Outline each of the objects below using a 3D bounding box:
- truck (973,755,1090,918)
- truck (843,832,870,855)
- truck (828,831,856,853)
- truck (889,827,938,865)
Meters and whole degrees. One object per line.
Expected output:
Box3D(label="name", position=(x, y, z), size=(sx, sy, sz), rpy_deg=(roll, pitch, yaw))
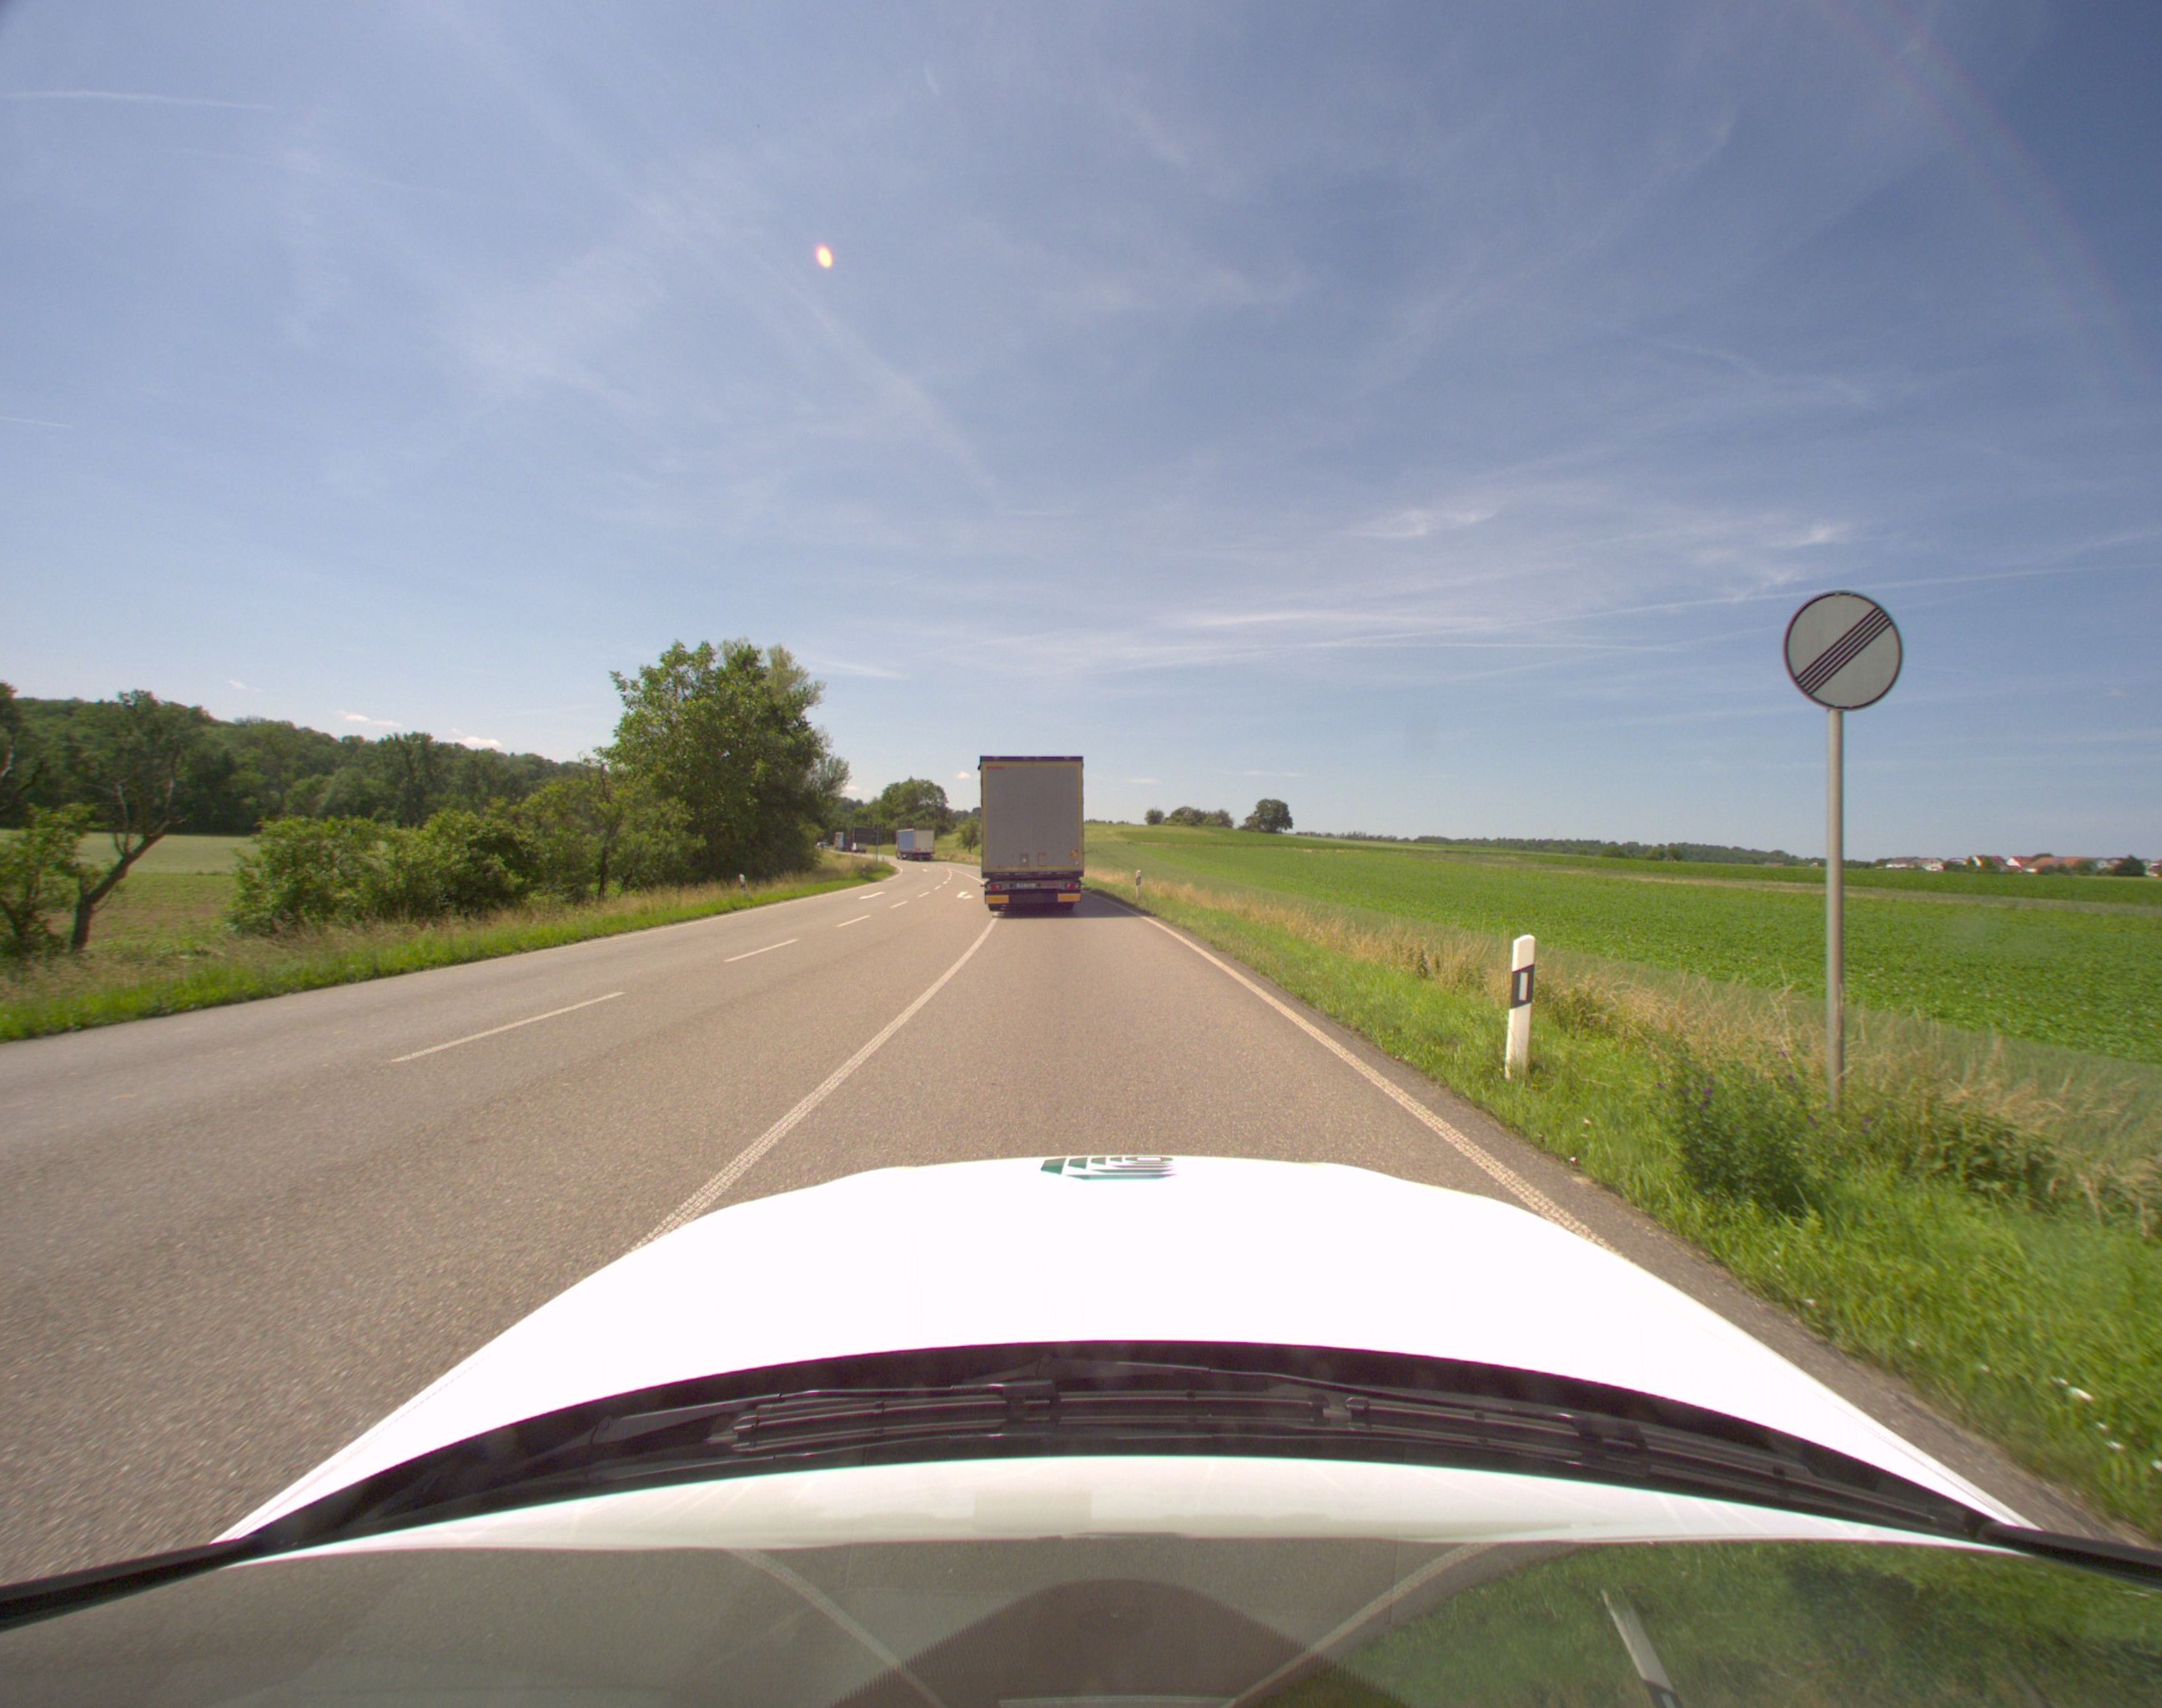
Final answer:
Box3D(label="truck", position=(-1.577, -0.448, 24.748), size=(2.803, 3.946, 9.575), rpy_deg=(-1, 0, -5))
Box3D(label="truck", position=(-45.241, -2.038, 163.718), size=(3.652, 4.130, 12.999), rpy_deg=(3, -2, -22))
Box3D(label="truck", position=(-52.423, -2.471, 178.325), size=(3.546, 4.241, 13.292), rpy_deg=(3, -2, -25))
Box3D(label="truck", position=(-22.368, -0.952, 107.581), size=(2.974, 4.584, 16.187), rpy_deg=(2, -1, -24))
